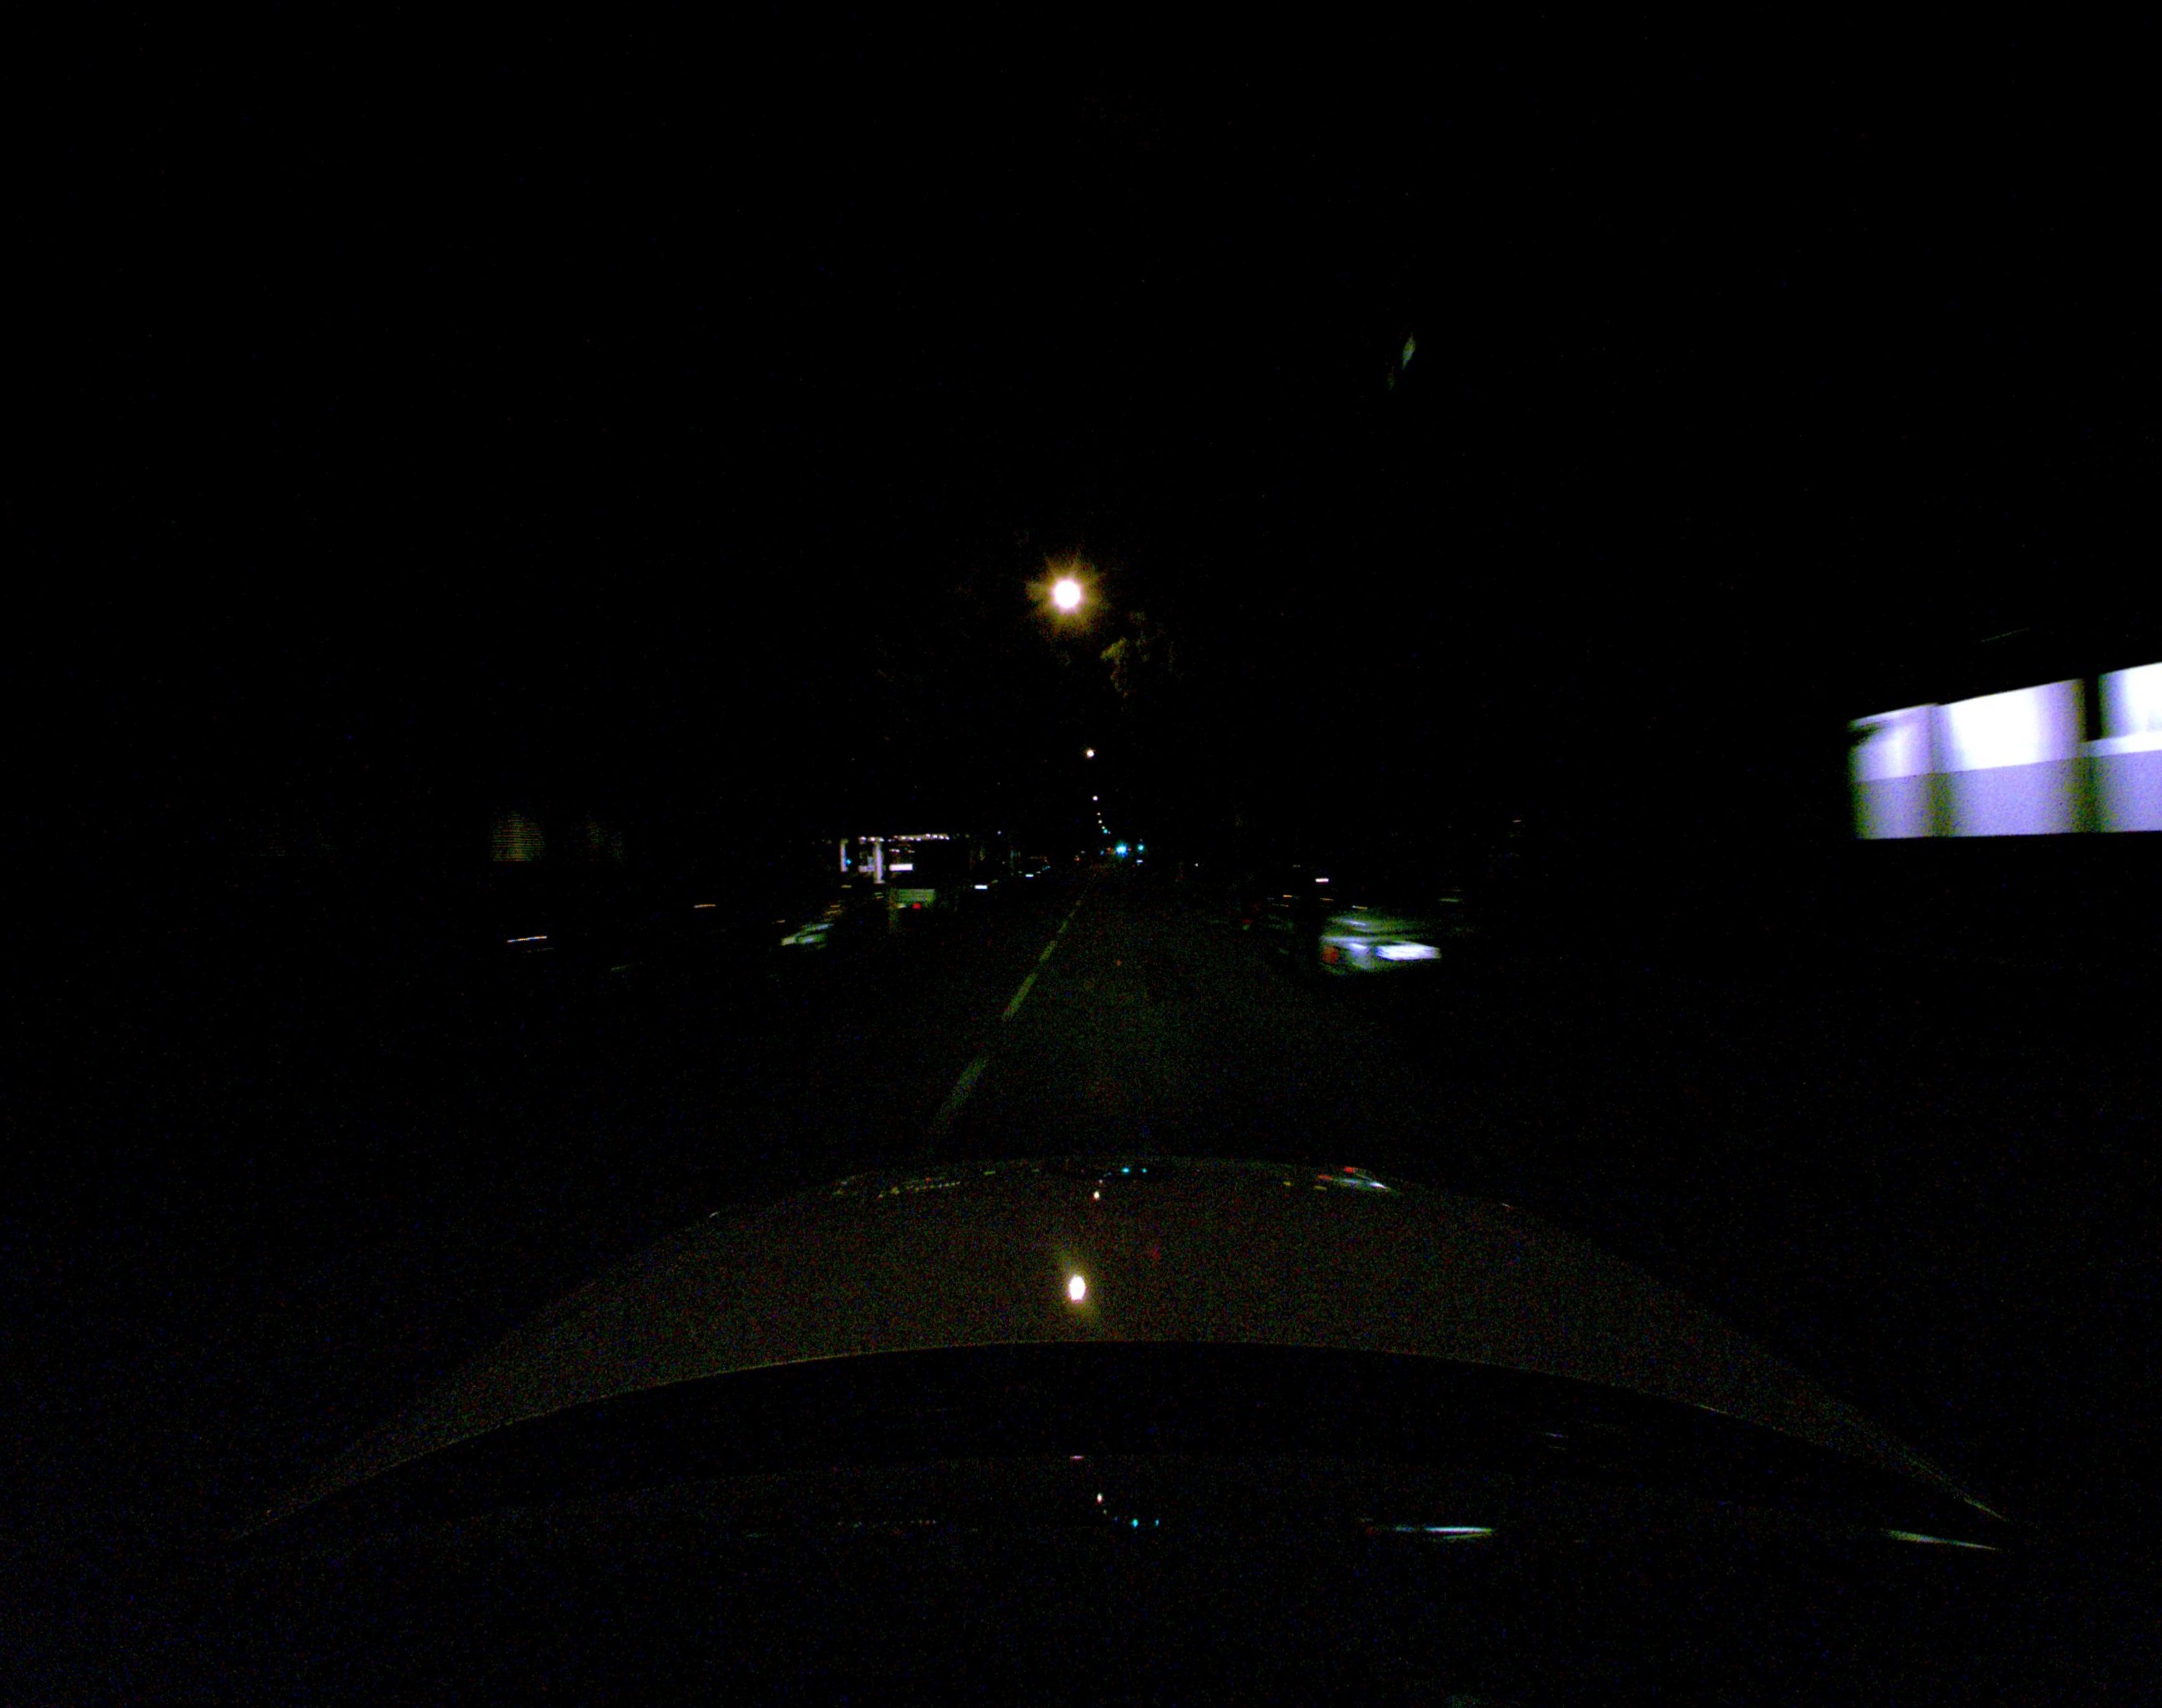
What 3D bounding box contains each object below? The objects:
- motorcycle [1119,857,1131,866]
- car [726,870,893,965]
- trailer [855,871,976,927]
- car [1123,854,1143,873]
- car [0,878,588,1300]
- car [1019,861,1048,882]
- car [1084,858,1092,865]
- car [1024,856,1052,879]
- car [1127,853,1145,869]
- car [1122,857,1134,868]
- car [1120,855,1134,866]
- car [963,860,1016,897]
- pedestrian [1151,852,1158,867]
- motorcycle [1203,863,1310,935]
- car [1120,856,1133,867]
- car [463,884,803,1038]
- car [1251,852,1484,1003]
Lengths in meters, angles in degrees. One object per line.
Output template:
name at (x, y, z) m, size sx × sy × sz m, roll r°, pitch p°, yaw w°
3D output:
motorcycle at (6.617, 1.093, 122.015) m, size 0.630 × 1.270 × 2.077 m, roll -2°, pitch -1°, yaw 36°
car at (-5.006, 1.095, 15.659) m, size 1.710 × 1.502 × 4.206 m, roll 0°, pitch 0°, yaw 1°
trailer at (-4.599, 1.200, 23.623) m, size 2.102 × 1.335 × 5.439 m, roll 0°, pitch 0°, yaw 3°
car at (5.146, 0.910, 80.926) m, size 1.846 × 1.654 × 4.211 m, roll -4°, pitch 0°, yaw 2°
car at (-5.253, 1.021, 5.074) m, size 1.736 × 1.606 × 4.297 m, roll -1°, pitch 0°, yaw 0°
car at (-3.480, 1.279, 60.311) m, size 1.693 × 1.433 × 3.831 m, roll 1°, pitch 0°, yaw 3°
car at (1.582, 1.708, 189.113) m, size 1.734 × 1.416 × 3.754 m, roll -2°, pitch 0°, yaw 2°
car at (-3.509, 1.093, 66.761) m, size 1.815 × 1.811 × 4.213 m, roll 1°, pitch 0°, yaw 3°
car at (6.752, 0.819, 100.976) m, size 1.766 × 1.807 × 4.276 m, roll -4°, pitch 0°, yaw -1°
car at (6.243, 1.128, 108.866) m, size 1.514 × 1.396 × 3.987 m, roll -4°, pitch 0°, yaw 3°
car at (7.066, 0.993, 125.536) m, size 1.846 × 1.590 × 4.301 m, roll -2°, pitch 0°, yaw 1°
car at (-4.257, 1.092, 38.416) m, size 1.815 × 1.599 × 4.076 m, roll 1°, pitch 0°, yaw 3°
pedestrian at (8.887, 0.696, 98.906) m, size 0.703 × 1.721 × 0.822 m, roll -4°, pitch -1°, yaw 2°
motorcycle at (3.472, 0.866, 16.368) m, size 0.930 × 1.283 × 2.217 m, roll -3°, pitch 0°, yaw -23°
car at (6.580, 1.075, 118.333) m, size 1.585 × 1.534 × 4.139 m, roll -4°, pitch 0°, yaw 1°
car at (-5.258, 1.152, 10.440) m, size 1.698 × 1.411 × 4.634 m, roll -1°, pitch -1°, yaw 1°
car at (3.342, 0.753, 10.355) m, size 1.661 × 1.429 × 4.152 m, roll -4°, pitch 0°, yaw 4°
